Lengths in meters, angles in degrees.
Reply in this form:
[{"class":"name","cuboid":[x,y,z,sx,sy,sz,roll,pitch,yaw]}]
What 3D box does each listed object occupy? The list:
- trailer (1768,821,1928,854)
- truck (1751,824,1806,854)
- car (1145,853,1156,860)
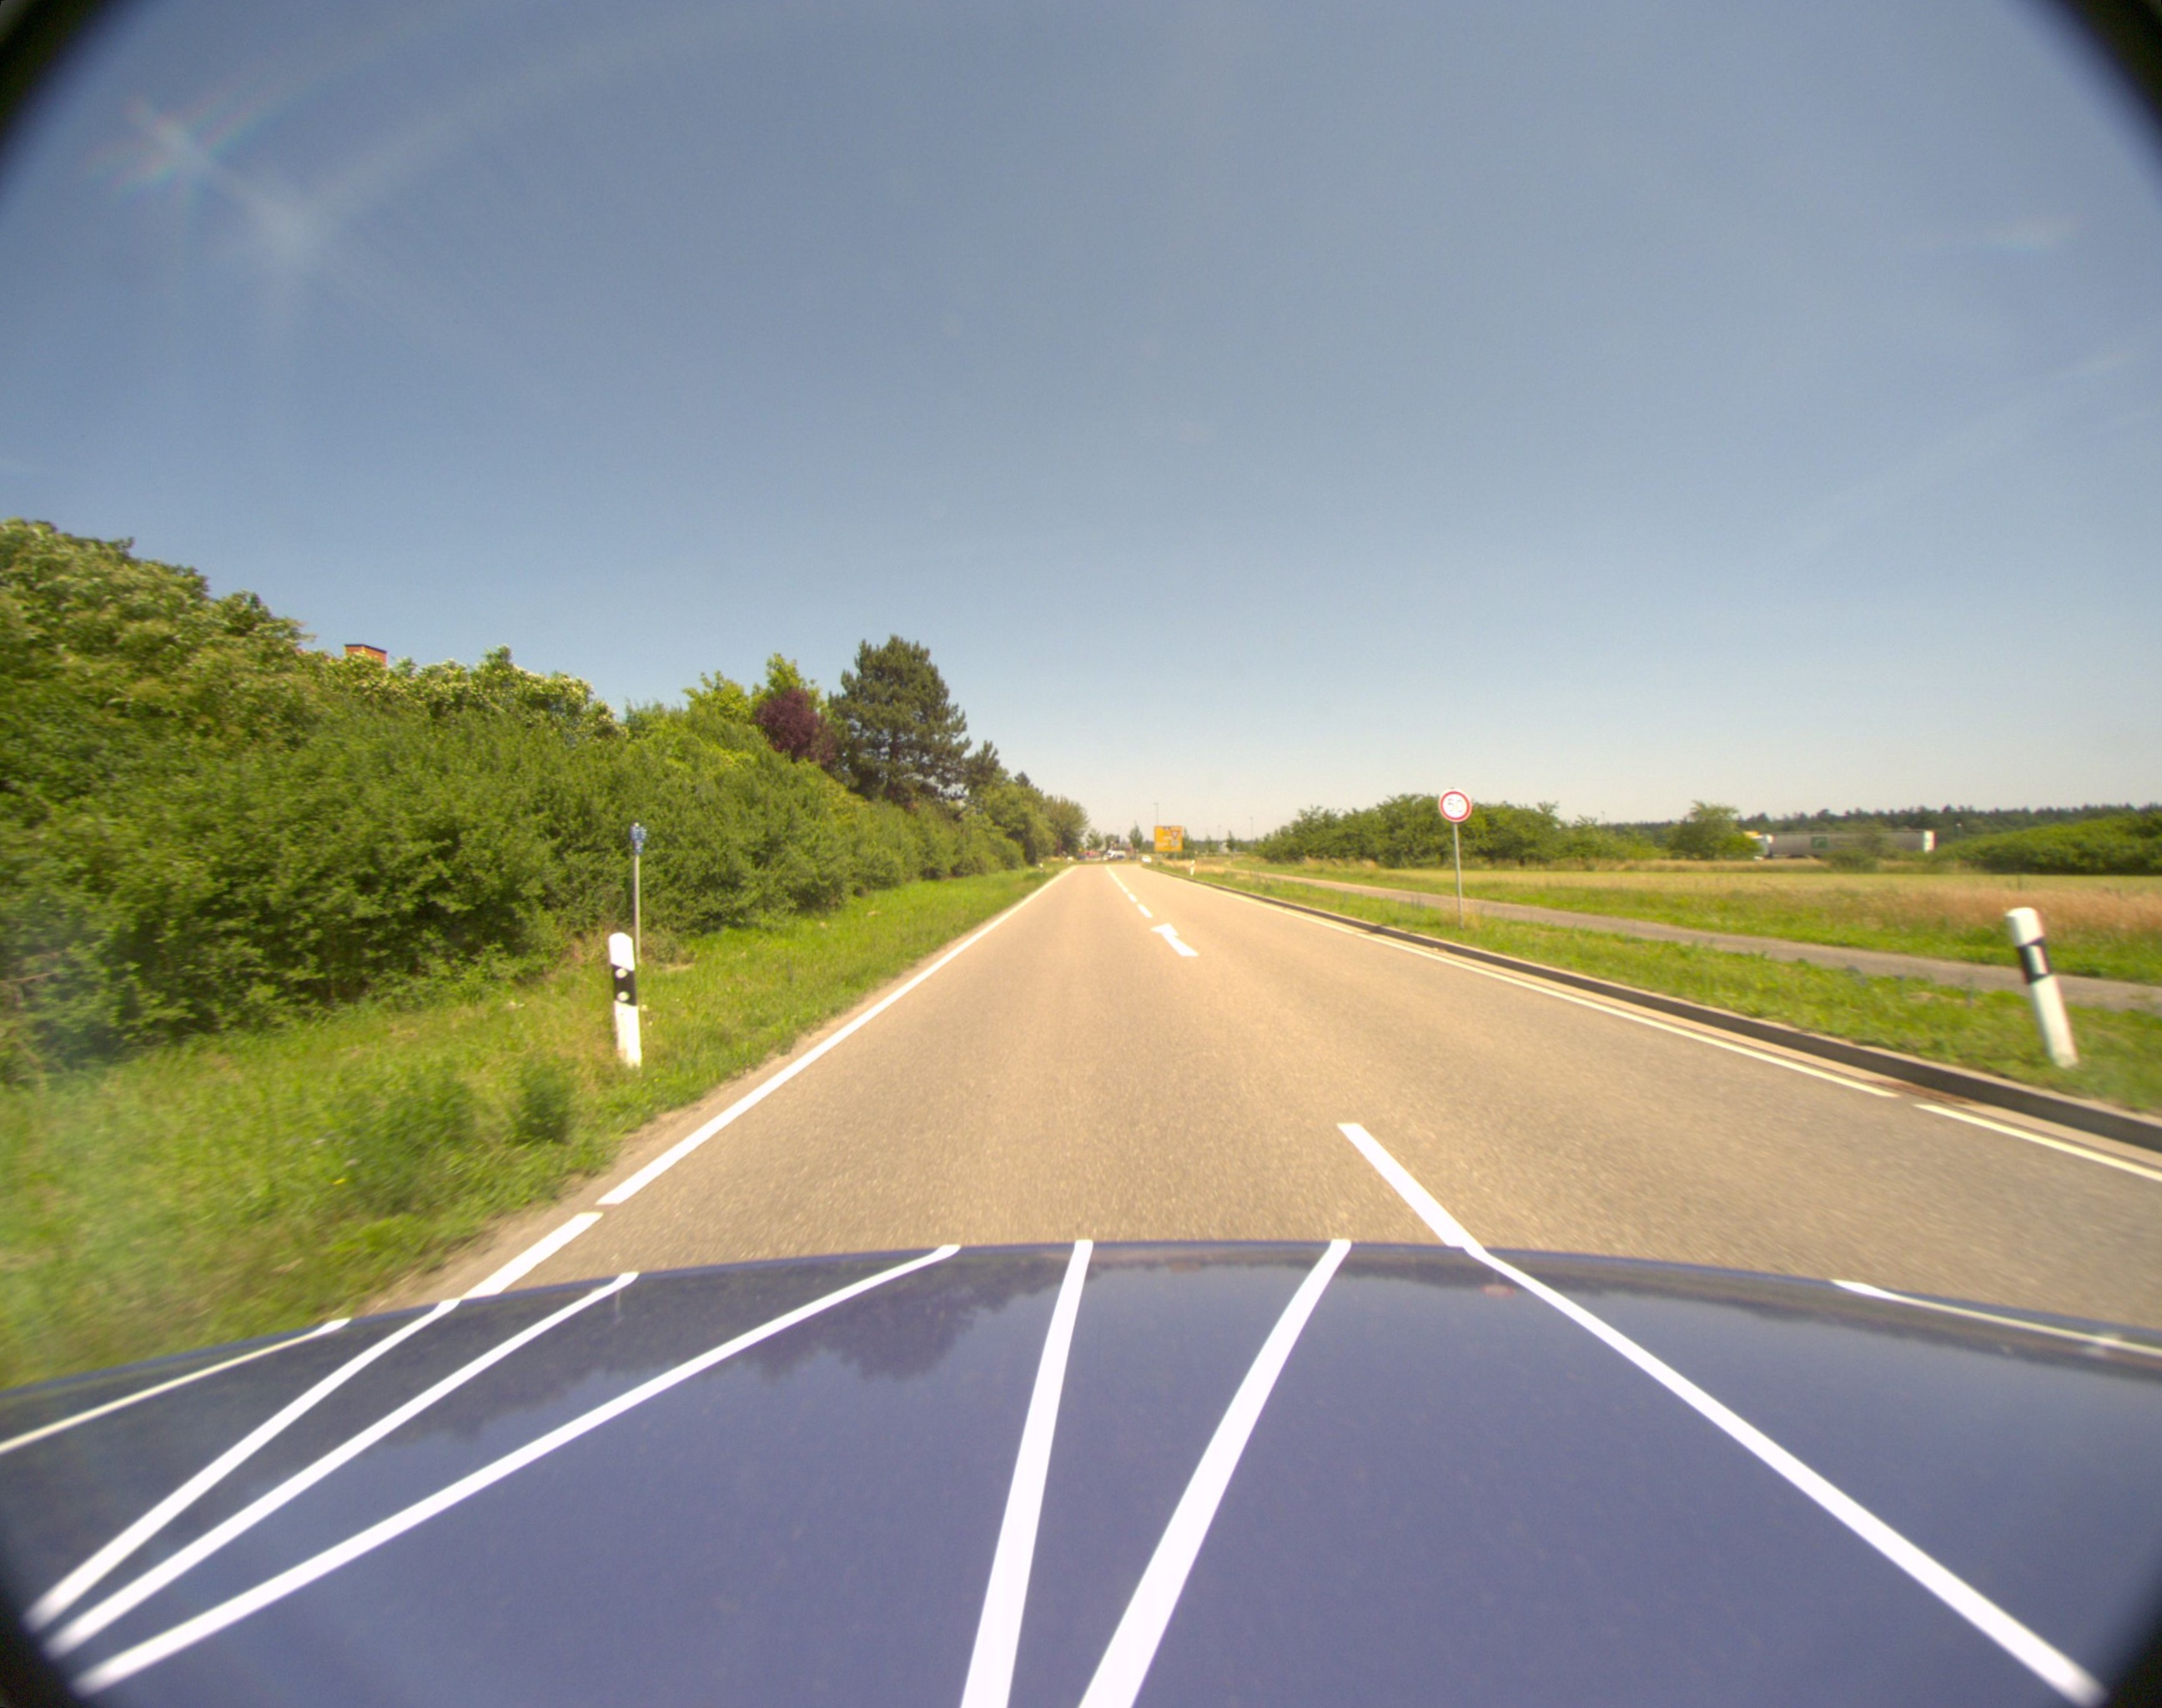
[{"class":"trailer","cuboid":[95.557,-1.941,95.213,2.647,3.911,13.849,-1,1,-28]},{"class":"truck","cuboid":[92.503,-1.929,100.836,2.647,3.911,4.767,-1,1,-28]},{"class":"car","cuboid":[13.848,0.491,152.007,1.746,1.419,3.999,0,1,-1]}]
